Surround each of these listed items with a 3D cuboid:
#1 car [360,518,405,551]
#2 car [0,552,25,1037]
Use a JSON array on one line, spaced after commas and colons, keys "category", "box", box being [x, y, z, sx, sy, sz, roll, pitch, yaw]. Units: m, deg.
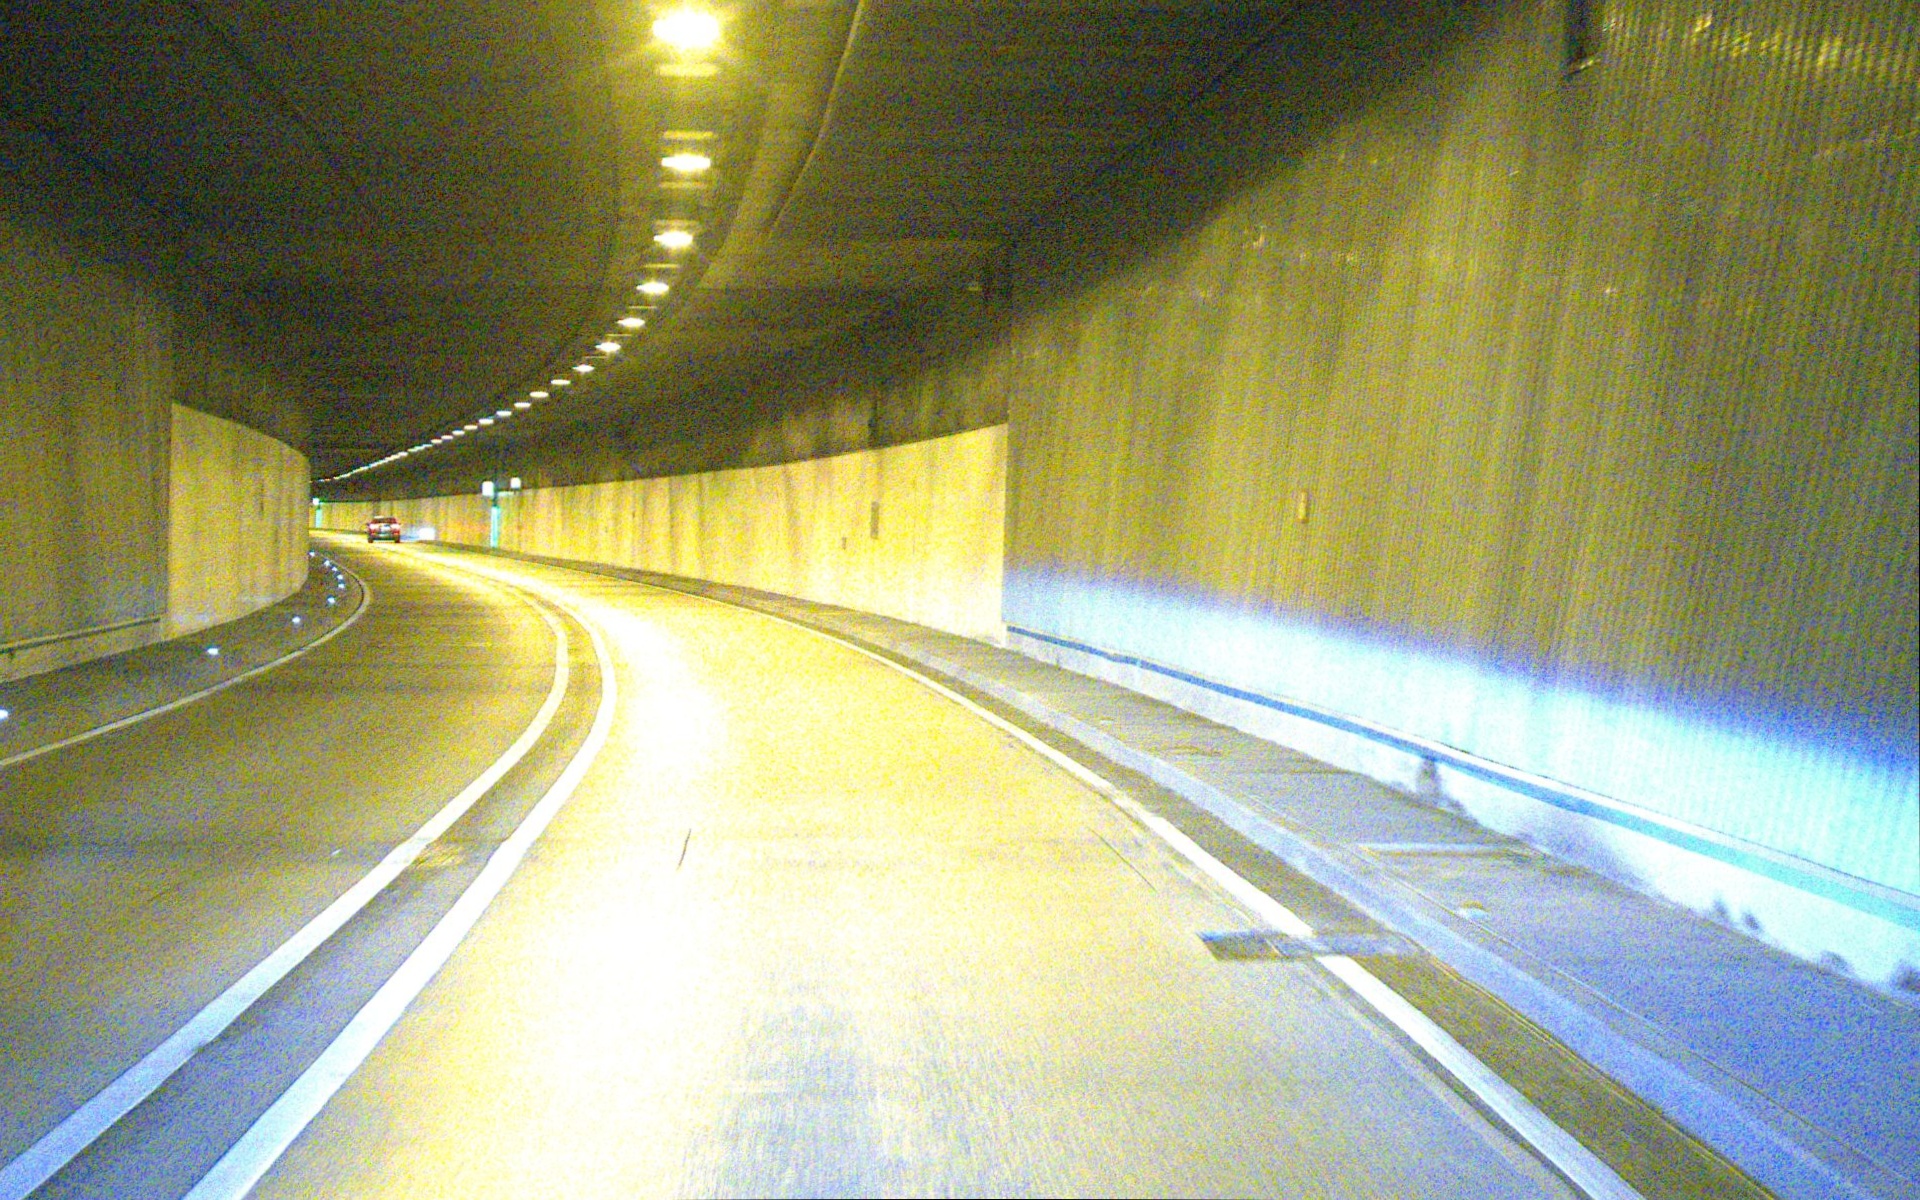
[{"category": "car", "box": [-34.265, -3.861, 203.817, 1.966, 1.932, 4.614, 0, 1, -18]}, {"category": "car", "box": [-3.593, 0.607, 8.205, 1.716, 1.438, 4.394, 1, 1, -3]}]
